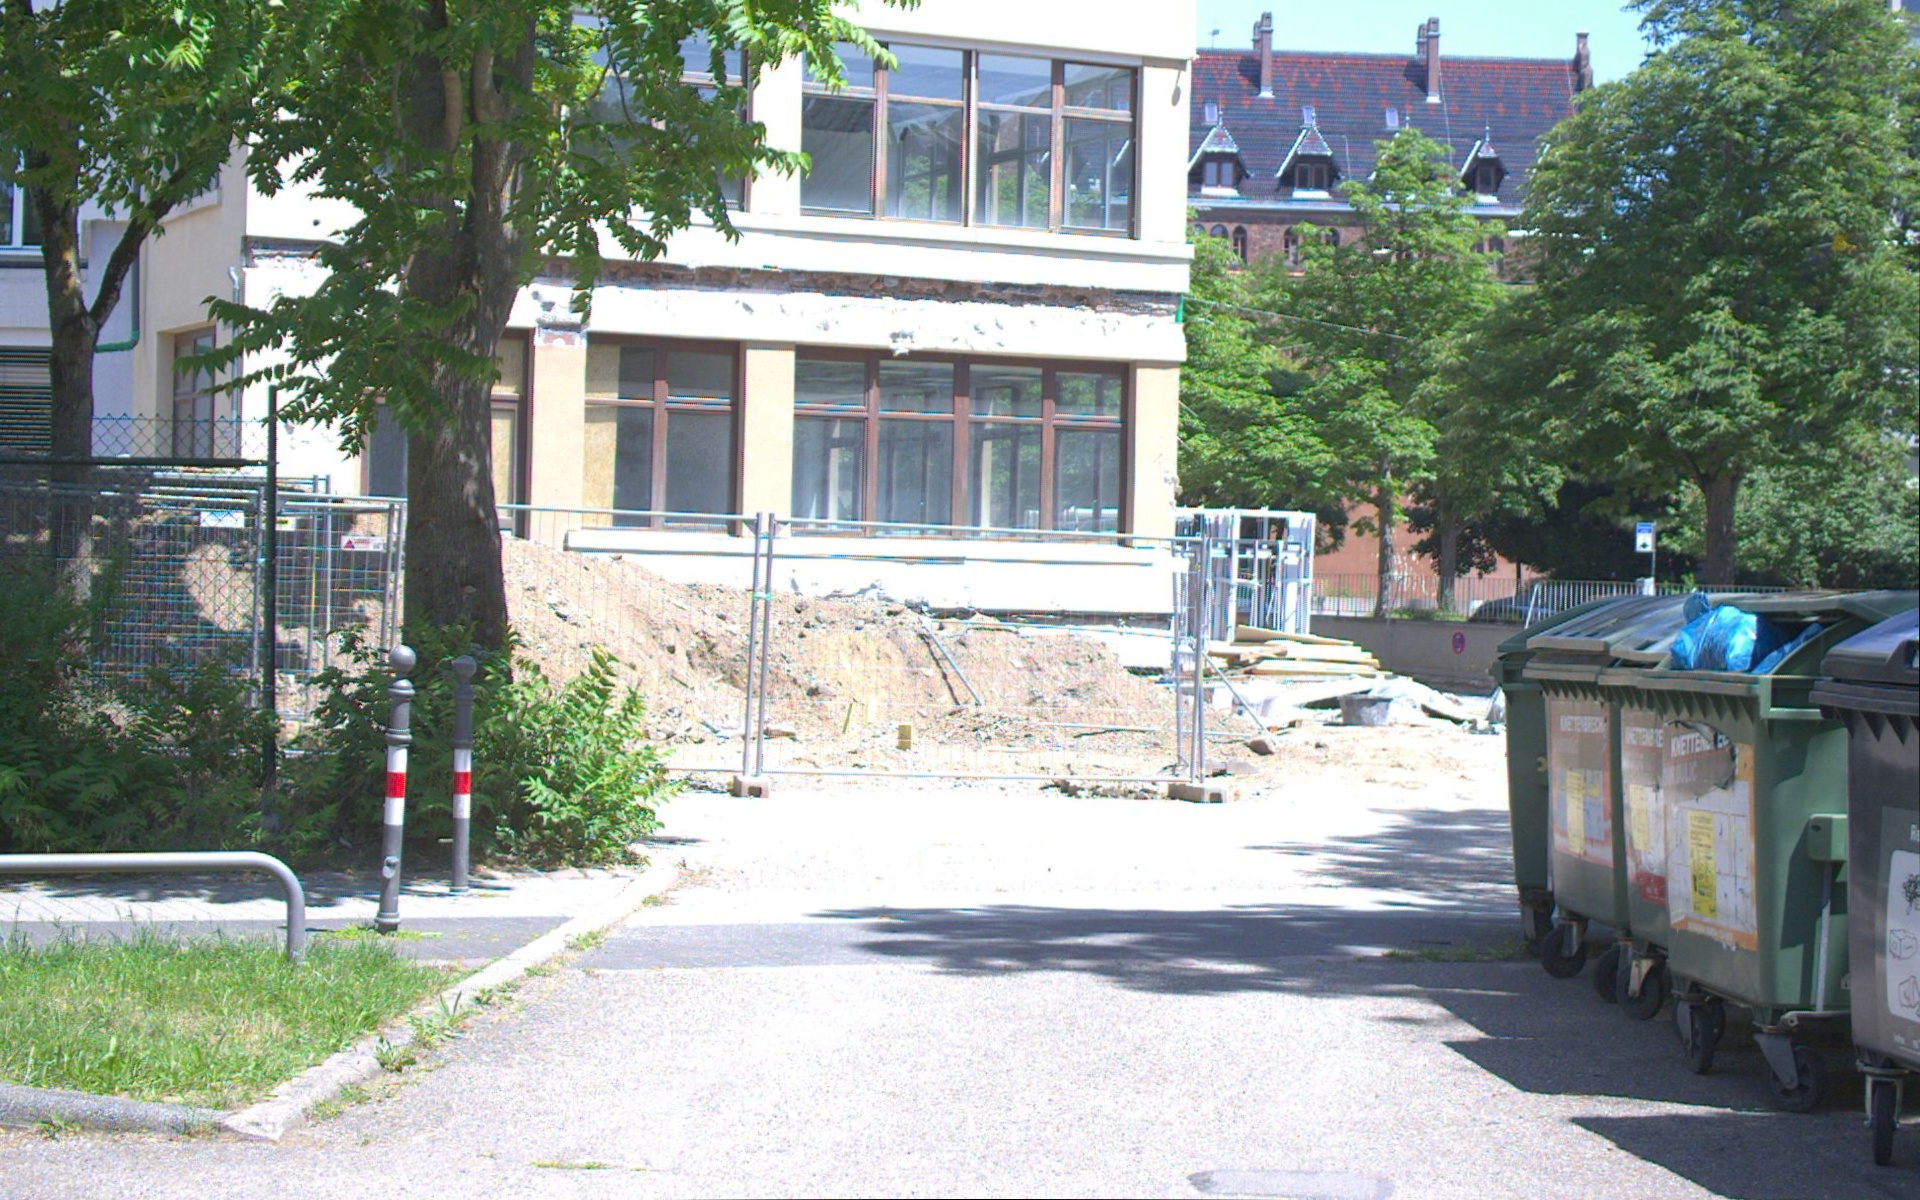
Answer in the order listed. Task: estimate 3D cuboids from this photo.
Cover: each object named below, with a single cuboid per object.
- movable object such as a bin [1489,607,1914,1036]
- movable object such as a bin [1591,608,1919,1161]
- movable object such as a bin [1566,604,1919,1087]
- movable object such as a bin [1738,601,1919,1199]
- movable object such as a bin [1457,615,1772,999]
[{"bbox_3d":[2.720,0.785,12.786,1.179,1.465,1.312,2,0,-3],"label":"movable object such as a bin"},{"bbox_3d":[2.605,0.785,9.963,1.179,1.465,1.312,2,0,-4],"label":"movable object such as a bin"},{"bbox_3d":[2.750,0.771,11.343,1.179,1.465,1.311,2,0,-2],"label":"movable object such as a bin"},{"bbox_3d":[2.701,0.779,8.224,1.154,1.500,1.463,2,0,-7],"label":"movable object such as a bin"},{"bbox_3d":[2.749,0.819,14.326,1.179,1.465,1.332,2,0,13],"label":"movable object such as a bin"}]
